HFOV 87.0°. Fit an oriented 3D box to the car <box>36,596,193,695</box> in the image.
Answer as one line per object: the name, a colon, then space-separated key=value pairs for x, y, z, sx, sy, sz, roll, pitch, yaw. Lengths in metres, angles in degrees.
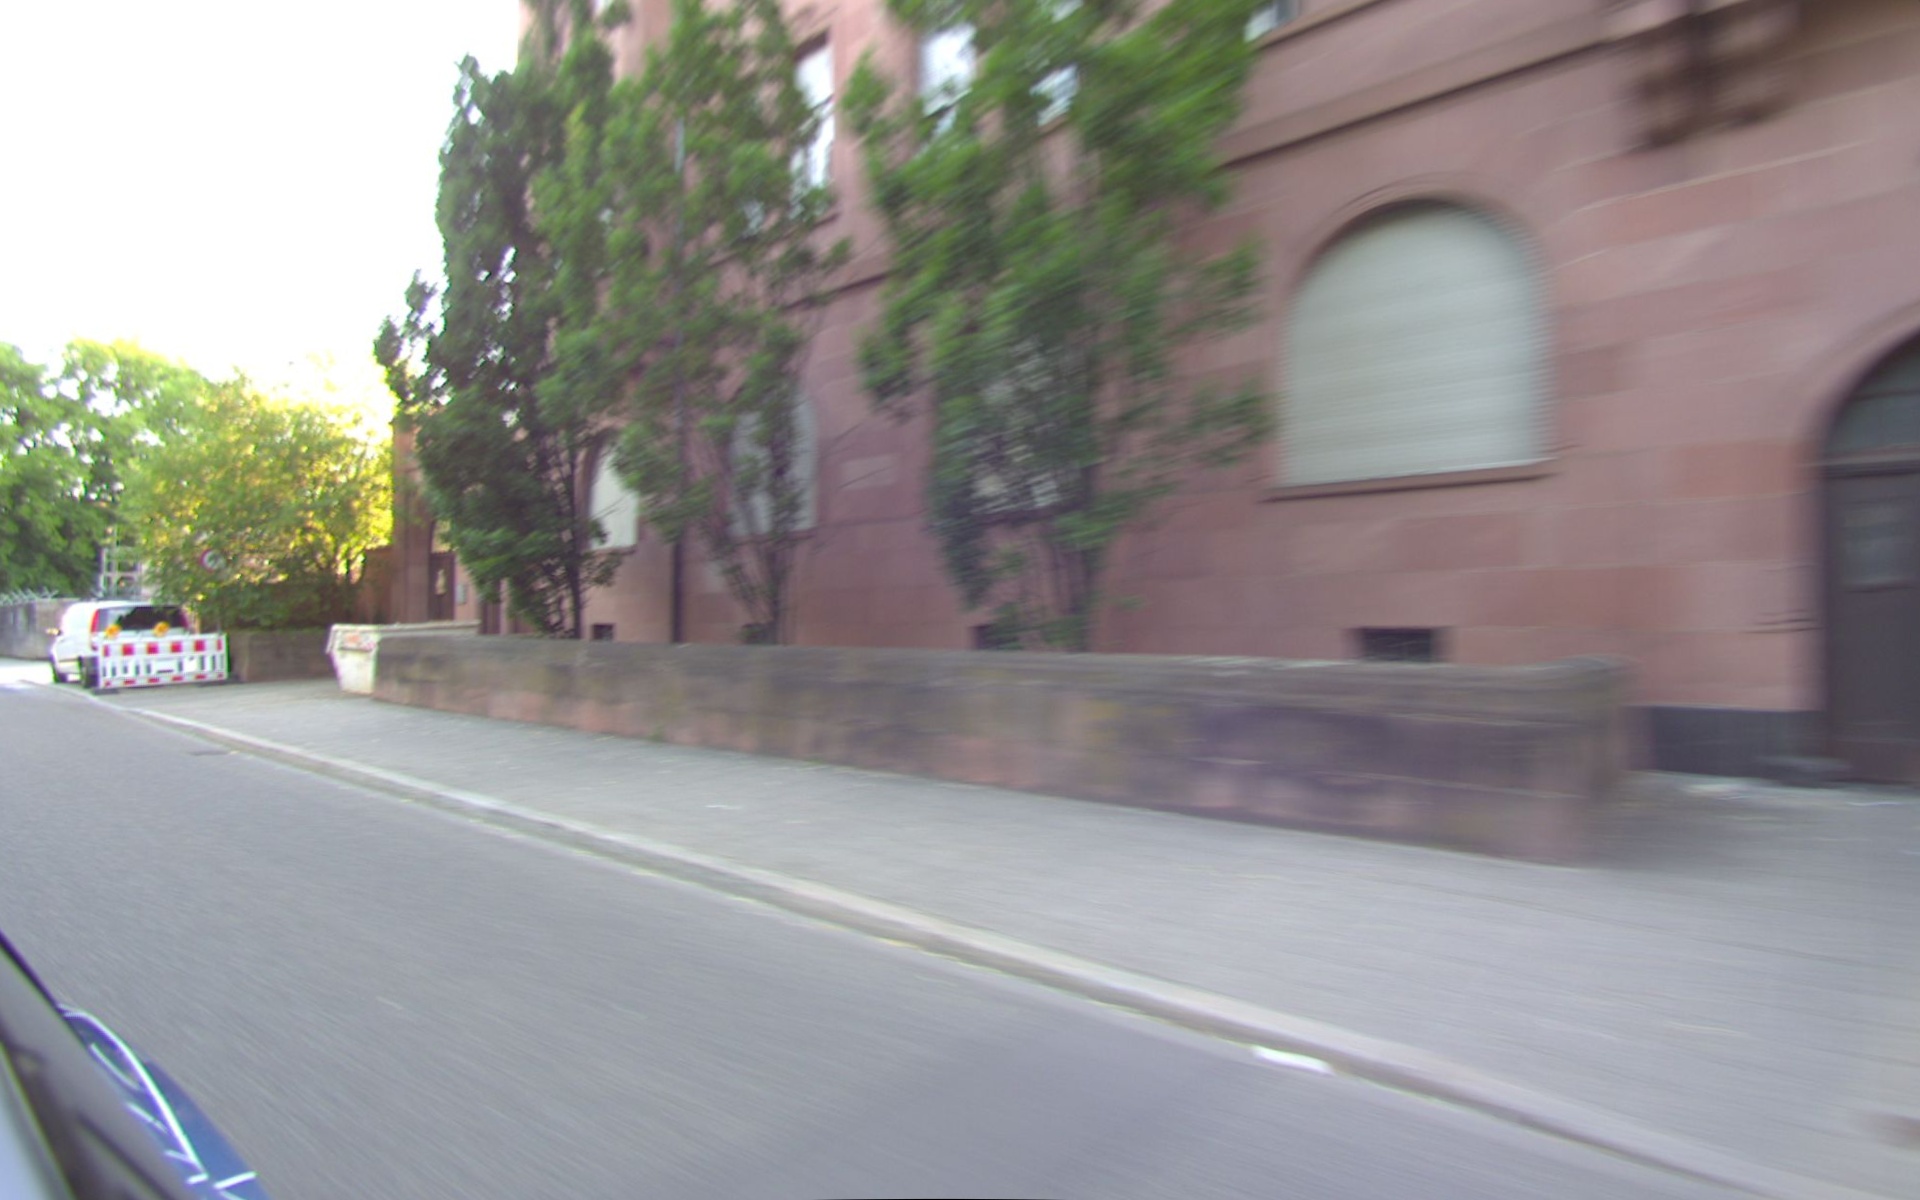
car: x=-19.806 y=0.988 z=23.628 sx=5.221 sy=2.029 sz=1.864 roll=-1 pitch=1 yaw=40
